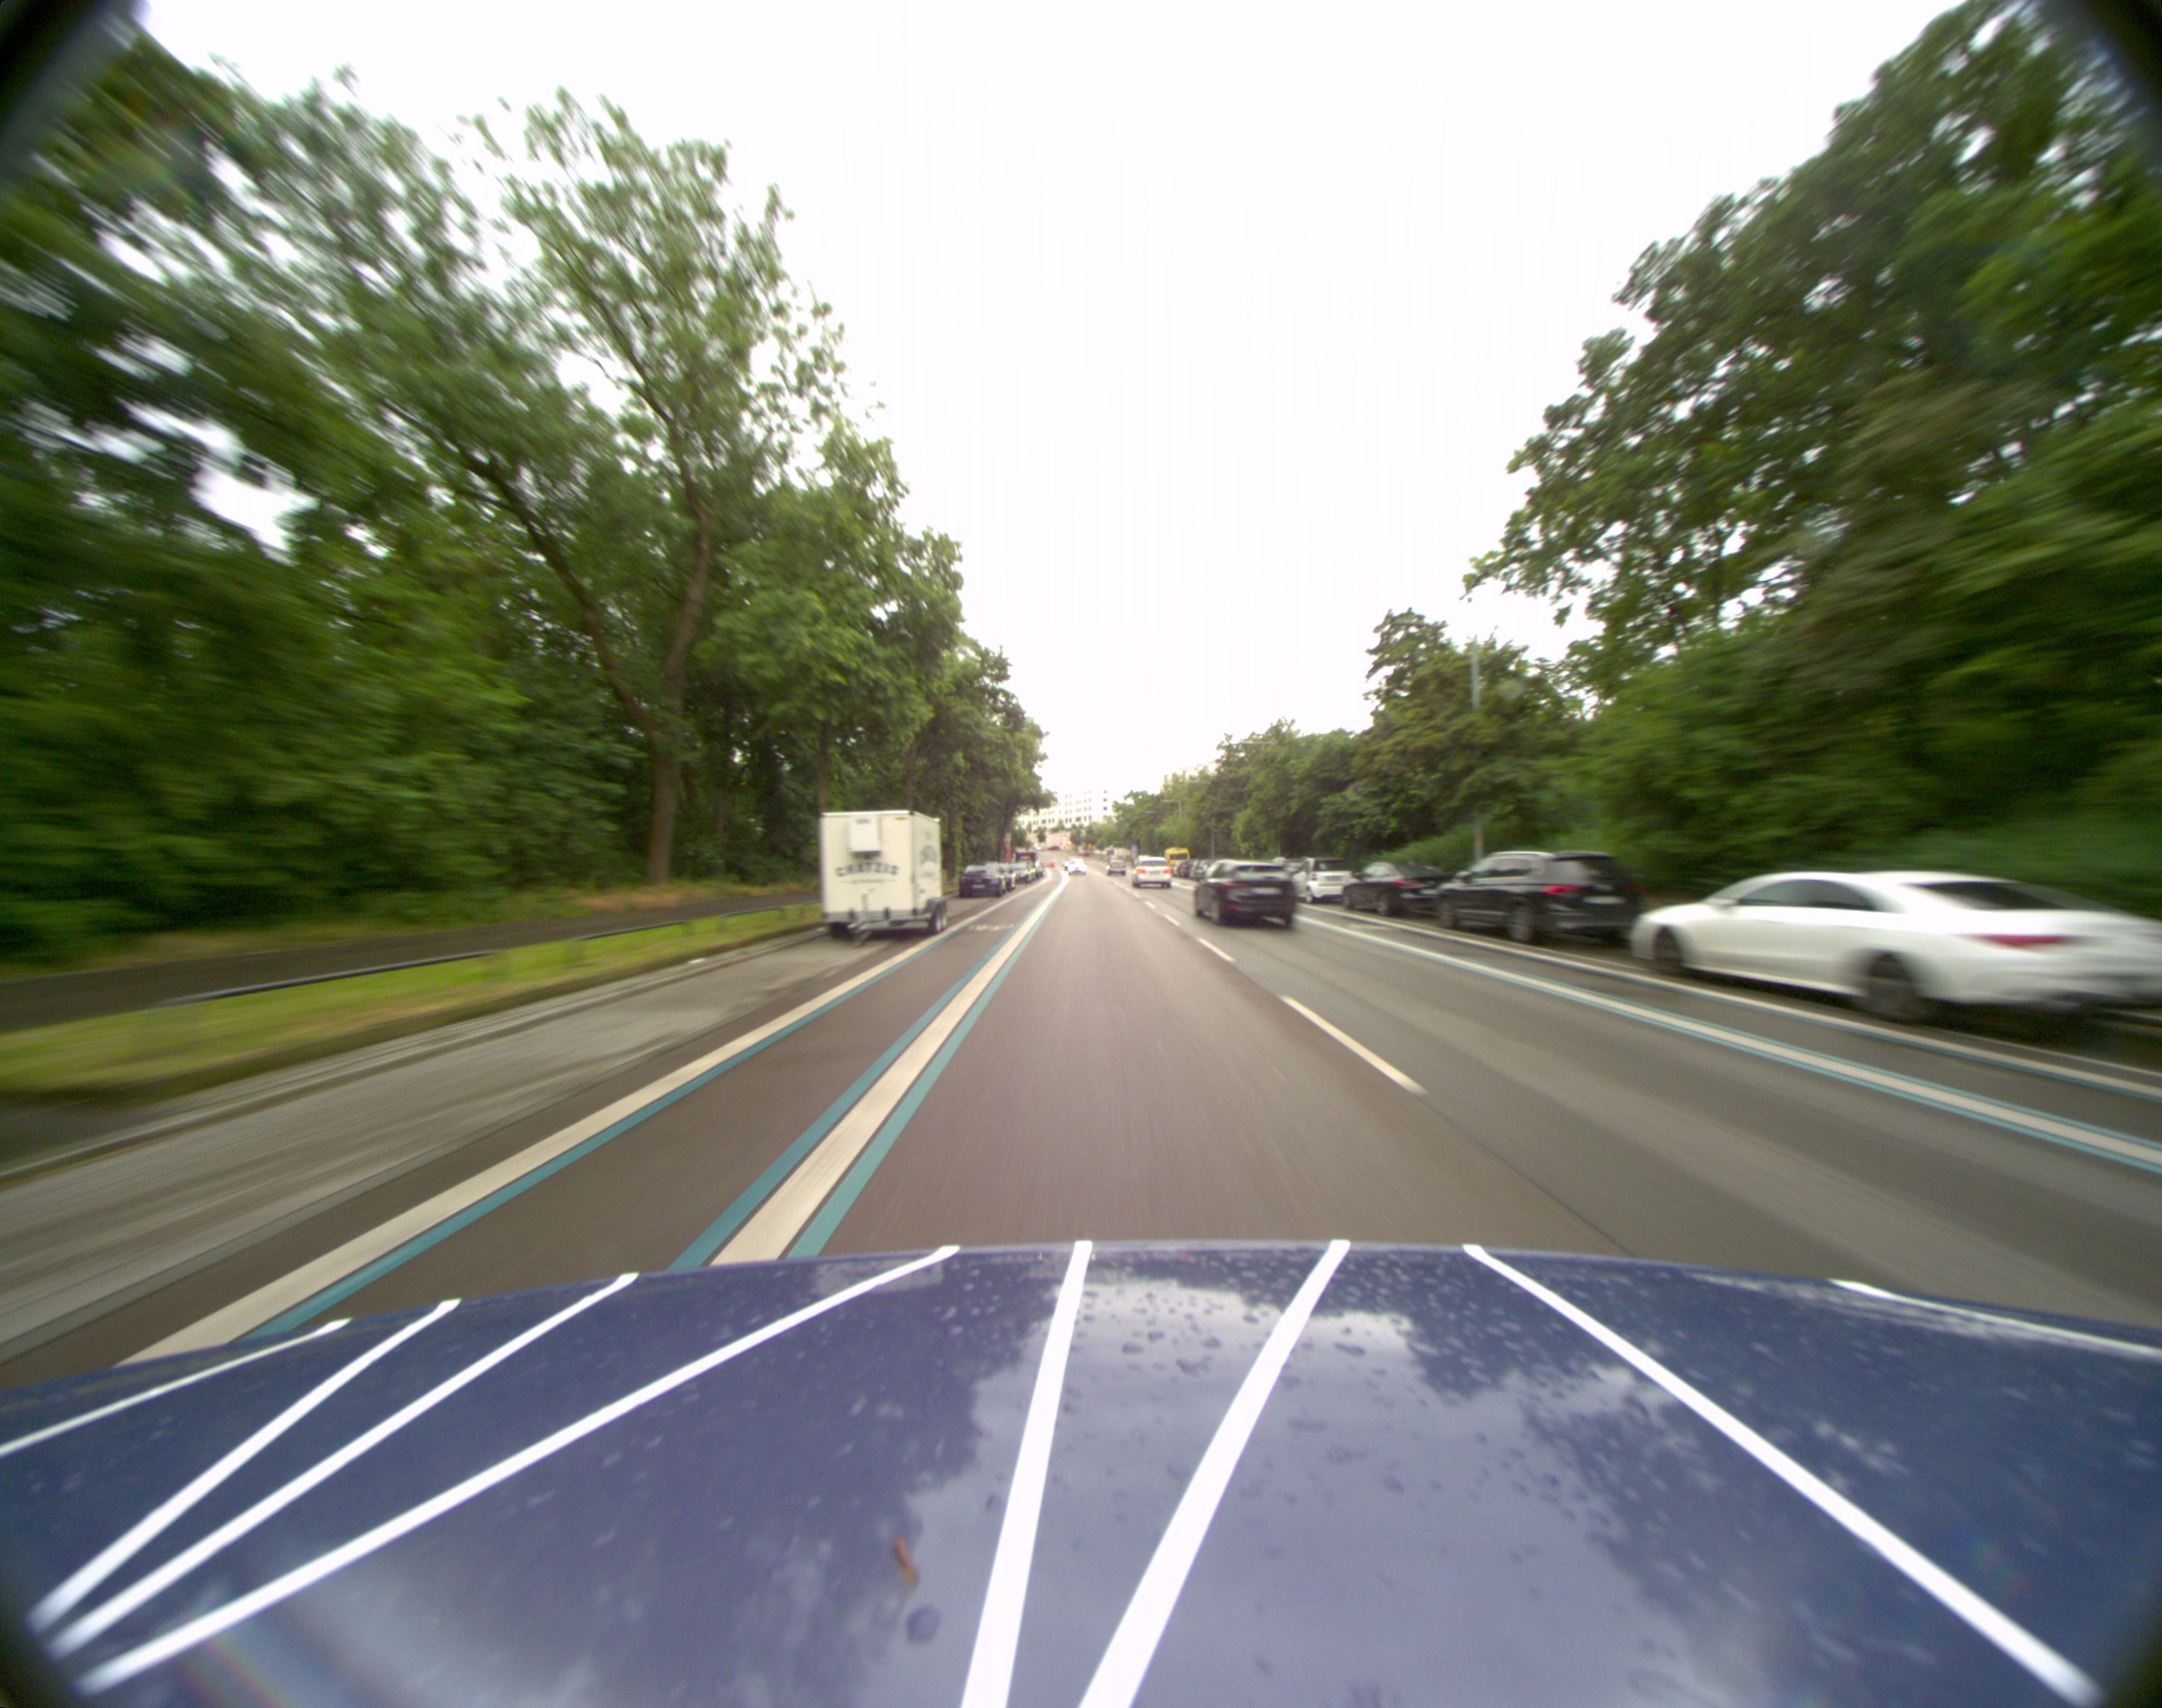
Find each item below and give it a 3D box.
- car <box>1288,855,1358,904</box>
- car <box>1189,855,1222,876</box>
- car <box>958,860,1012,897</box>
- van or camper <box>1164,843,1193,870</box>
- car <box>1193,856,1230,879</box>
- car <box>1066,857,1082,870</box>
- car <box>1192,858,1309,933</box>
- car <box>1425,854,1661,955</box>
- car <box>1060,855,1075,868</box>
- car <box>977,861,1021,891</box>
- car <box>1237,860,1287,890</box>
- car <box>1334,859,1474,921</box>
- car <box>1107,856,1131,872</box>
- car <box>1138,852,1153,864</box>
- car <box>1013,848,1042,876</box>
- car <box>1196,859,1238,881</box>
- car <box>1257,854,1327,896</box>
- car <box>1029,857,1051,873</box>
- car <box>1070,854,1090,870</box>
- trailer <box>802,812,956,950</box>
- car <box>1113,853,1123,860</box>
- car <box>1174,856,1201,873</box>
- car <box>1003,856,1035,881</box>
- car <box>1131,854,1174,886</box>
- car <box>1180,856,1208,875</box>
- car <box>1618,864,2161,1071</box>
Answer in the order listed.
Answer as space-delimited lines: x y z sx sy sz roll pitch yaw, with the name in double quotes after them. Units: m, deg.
8.372 0.845 26.511 1.527 1.584 2.860 0 0 -1 "car"
9.173 0.840 56.374 1.825 1.427 3.773 -1 0 0 "car"
-4.132 1.025 33.249 1.804 1.455 4.000 -1 0 0 "car"
9.237 0.248 72.202 2.165 2.437 4.436 -1 0 0 "van or camper"
8.771 0.893 51.389 1.825 1.427 3.773 -1 0 0 "car"
-0.925 1.255 98.677 1.998 1.629 4.000 0 1 1 "car"
3.805 0.862 17.816 1.769 1.449 4.496 1 1 1 "car"
8.648 0.835 14.814 1.740 1.651 4.673 0 0 -1 "car"
-1.729 0.954 99.416 1.850 1.719 3.730 -1 0 0 "car"
-4.183 1.098 39.280 1.804 1.370 4.000 -1 0 0 "car"
8.539 0.958 36.099 1.514 1.285 3.597 -1 0 0 "car"
8.712 0.903 20.984 1.901 1.466 4.553 -1 0 -1 "car"
3.627 0.942 73.217 1.805 1.394 3.999 -1 0 -3 "car"
9.118 0.593 108.183 1.825 1.650 3.558 -1 0 0 "car"
-4.446 0.608 63.768 1.998 2.231 3.999 -2 1 0 "car"
8.303 0.954 46.586 1.825 1.285 4.206 -1 0 0 "car"
8.460 0.809 30.787 1.819 1.579 3.992 0 0 1 "car"
-3.944 1.029 73.352 1.862 1.361 3.999 -2 1 0 "car"
-0.092 0.815 77.667 1.998 1.589 4.000 -1 0 1 "car"
-4.101 0.503 16.211 2.284 2.550 3.999 -1 0 -2 "trailer"
7.279 0.504 148.657 1.825 1.427 3.558 1 0 0 "car"
9.212 0.866 66.001 1.825 1.427 3.558 -1 0 0 "car"
-4.167 0.977 51.607 1.804 1.589 4.000 -1 0 0 "car"
3.699 0.784 39.933 1.790 1.570 4.258 0 0 0 "car"
9.197 0.895 61.970 1.825 1.470 3.558 0 0 0 "car"
8.440 0.921 8.286 1.811 1.489 4.752 0 1 0 "car"
